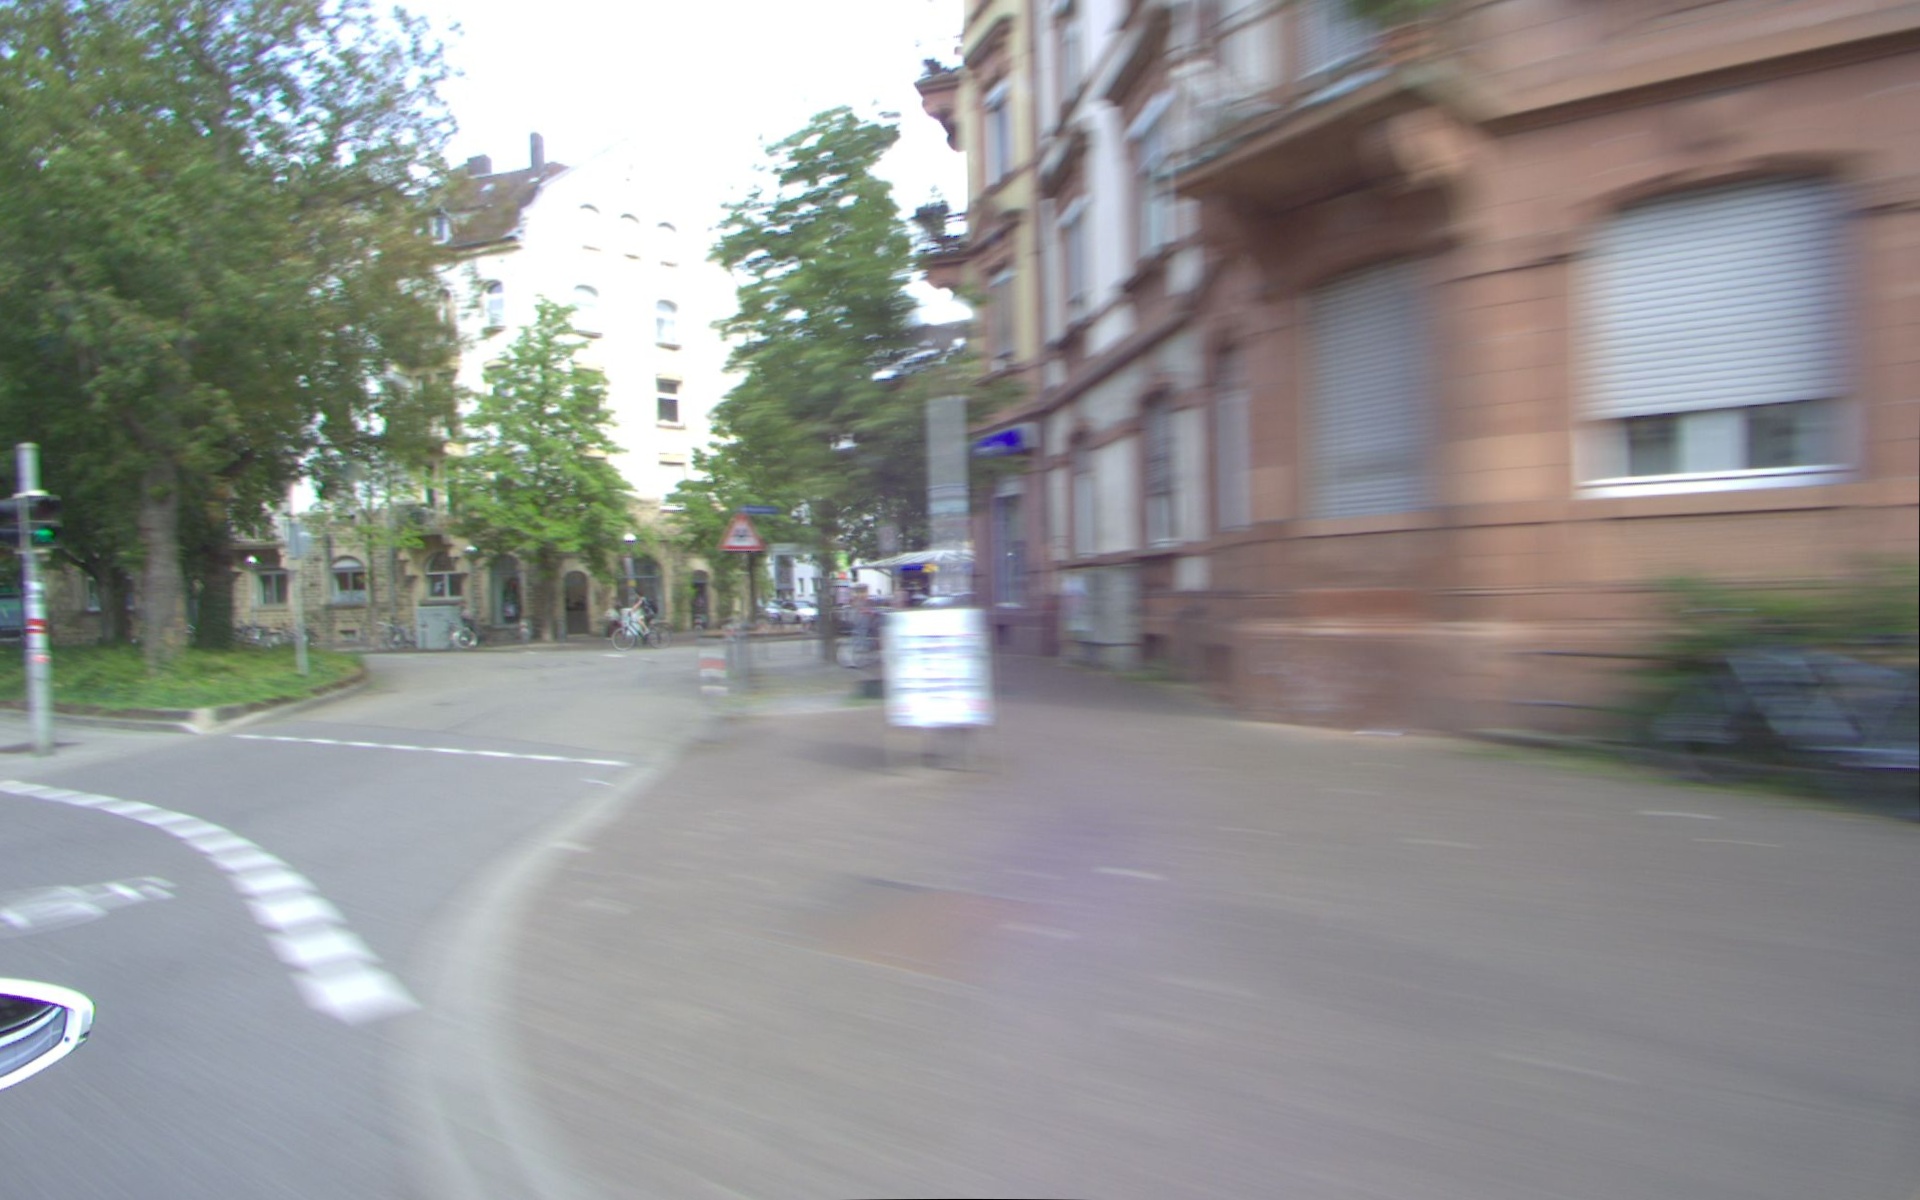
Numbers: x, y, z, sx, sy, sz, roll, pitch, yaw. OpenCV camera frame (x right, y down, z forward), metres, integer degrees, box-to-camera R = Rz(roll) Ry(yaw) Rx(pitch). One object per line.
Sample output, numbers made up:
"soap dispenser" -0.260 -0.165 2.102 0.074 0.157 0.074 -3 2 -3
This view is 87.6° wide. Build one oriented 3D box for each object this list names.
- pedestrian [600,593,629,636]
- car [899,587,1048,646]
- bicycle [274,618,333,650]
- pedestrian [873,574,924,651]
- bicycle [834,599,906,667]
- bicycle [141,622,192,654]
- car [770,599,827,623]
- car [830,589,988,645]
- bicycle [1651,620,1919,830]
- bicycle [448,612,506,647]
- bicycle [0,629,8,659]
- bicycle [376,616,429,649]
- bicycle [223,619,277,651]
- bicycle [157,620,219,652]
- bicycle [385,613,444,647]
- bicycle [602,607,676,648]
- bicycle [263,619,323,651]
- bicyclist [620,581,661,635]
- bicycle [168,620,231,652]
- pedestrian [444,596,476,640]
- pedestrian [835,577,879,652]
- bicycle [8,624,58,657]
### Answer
"pedestrian" -13.650 0.573 39.549 0.826 1.645 0.726 -2 2 -42
"car" 0.421 0.432 27.804 3.956 1.460 1.803 -2 1 -41
"bicycle" -25.273 1.285 38.589 0.524 1.143 1.887 -1 1 24
"pedestrian" -1.448 0.280 23.719 0.882 1.753 0.751 -4 3 -38
"bicycle" -1.627 0.585 18.401 0.661 1.159 1.668 -1 1 19
"bicycle" -31.061 1.470 39.229 0.522 1.143 1.892 -1 2 -3
"car" -10.232 0.683 63.282 1.753 1.414 3.965 -2 1 -40
"car" -1.501 0.471 30.048 4.416 1.460 1.747 -2 1 -32
"bicycle" 4.669 0.623 5.361 0.502 0.982 1.542 -2 1 -29
"bicycle" -17.388 1.051 36.075 0.524 1.143 1.885 -1 1 29
"bicycle" -37.124 1.698 38.111 0.523 1.143 1.889 -2 1 -20
"bicycle" -20.943 1.213 37.661 0.523 1.143 1.890 -1 1 17
"bicycle" -27.681 1.348 39.055 0.583 1.143 1.893 -1 1 5
"bicycle" -30.253 1.412 39.260 0.553 1.143 1.889 -1 1 19
"bicycle" -20.215 1.099 37.135 0.525 1.143 1.882 -1 1 33
"bicycle" -9.941 0.845 31.024 2.069 1.167 0.652 -2 2 -25
"bicycle" -25.817 1.339 38.791 0.524 1.143 1.887 -1 1 24
"bicyclist" -9.901 0.248 31.033 1.121 1.627 0.644 -2 2 -25
"bicycle" -29.680 1.397 39.111 0.588 1.143 1.889 -1 1 19
"pedestrian" -19.805 0.702 39.691 0.821 1.698 0.730 -1 1 22
"pedestrian" -2.489 0.333 24.178 0.722 1.753 0.888 -3 3 -29
"bicycle" -35.582 1.542 38.463 0.656 1.143 1.889 -2 1 -20
